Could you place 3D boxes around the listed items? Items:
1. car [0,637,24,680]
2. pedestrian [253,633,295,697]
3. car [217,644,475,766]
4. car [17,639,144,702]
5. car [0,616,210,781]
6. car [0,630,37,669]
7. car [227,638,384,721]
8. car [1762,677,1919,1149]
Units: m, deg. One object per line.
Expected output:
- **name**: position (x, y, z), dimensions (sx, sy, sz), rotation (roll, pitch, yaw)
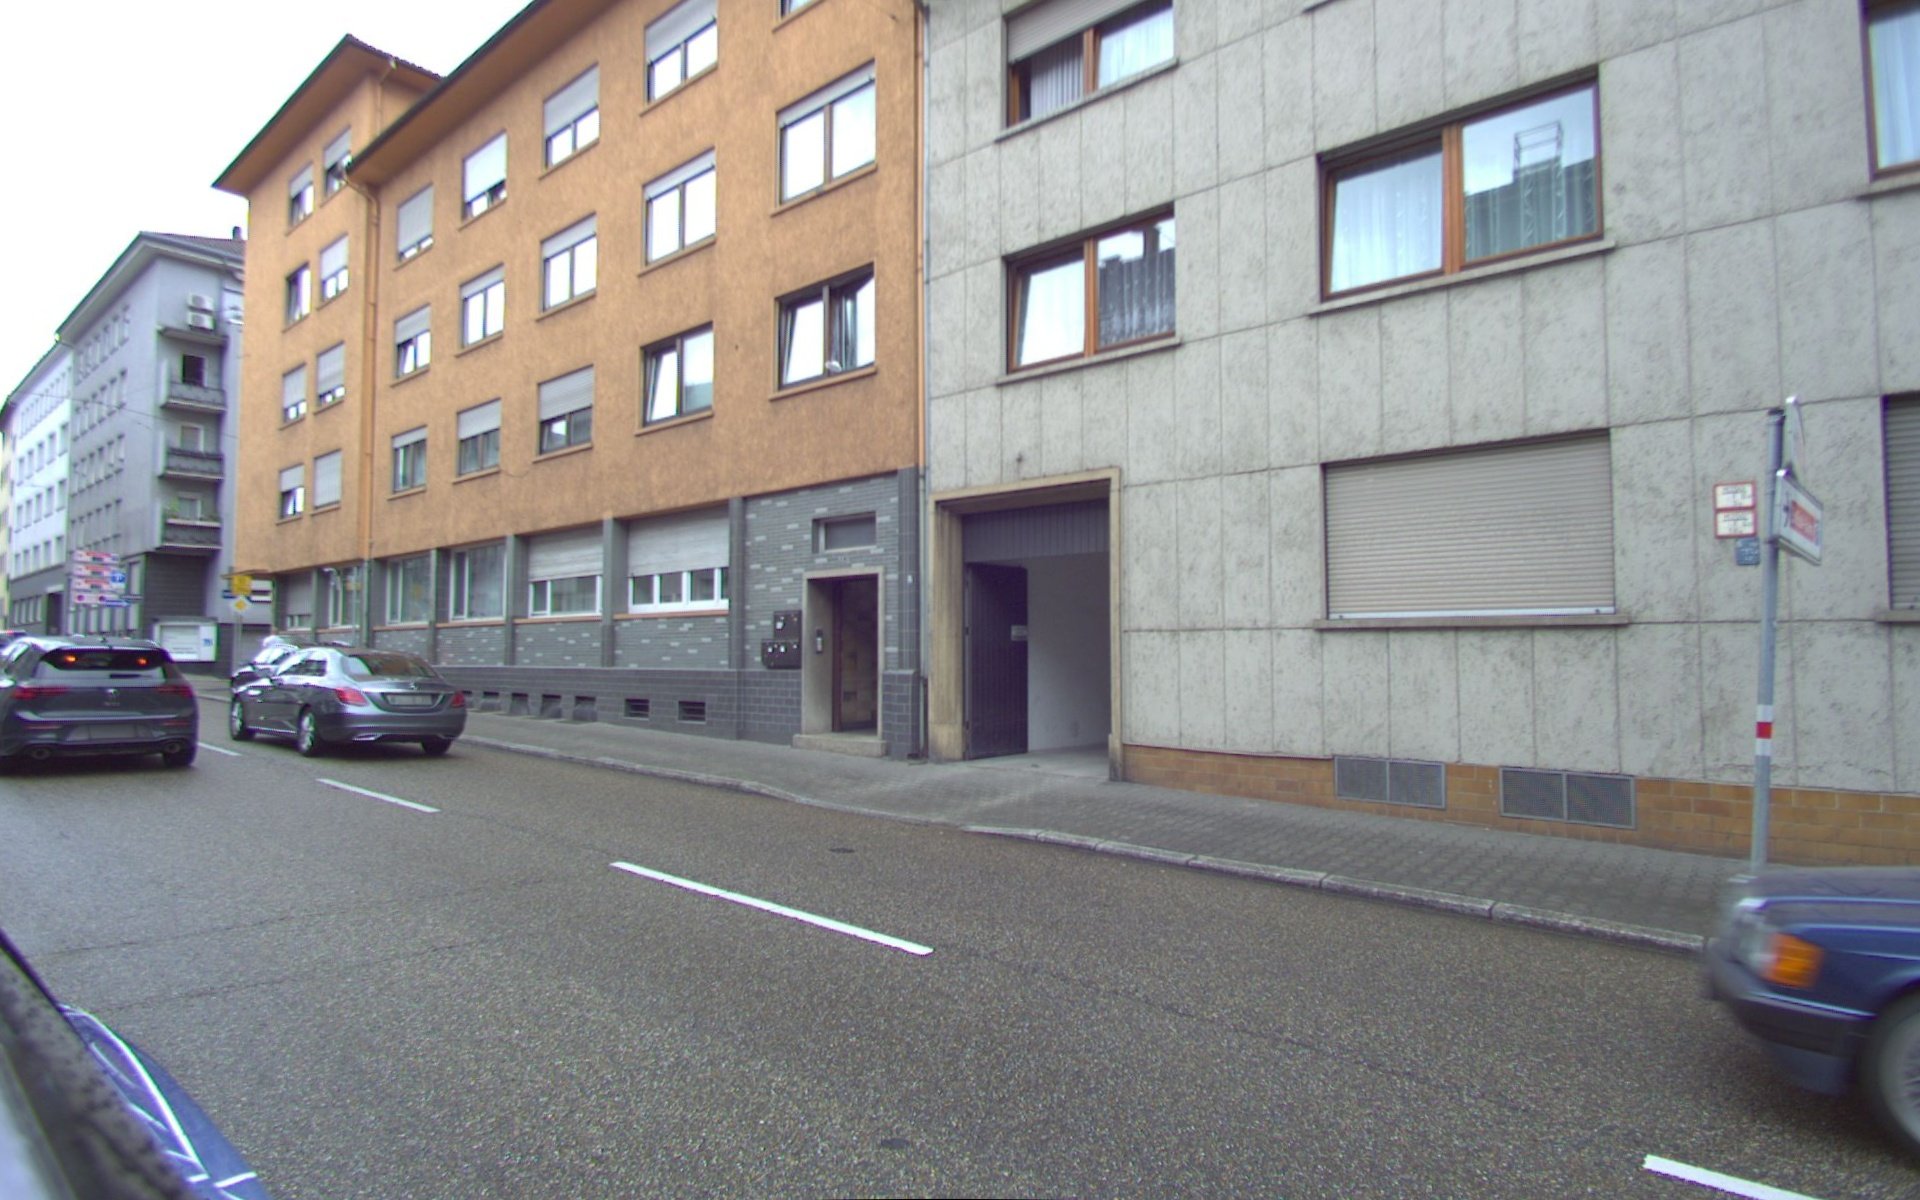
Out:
- **car**: position (-37.851, 2.195, 39.214), dimensions (4.433, 1.551, 1.677), rotation (-1, -6, 40)
- **pedestrian**: position (-18.455, 1.728, 27.221), dimensions (0.757, 1.652, 1.024), rotation (-1, 0, -44)
- **car**: position (-8.706, 1.389, 14.199), dimensions (4.362, 1.381, 1.678), rotation (-1, -5, 40)
- **car**: position (-22.661, 1.786, 26.038), dimensions (4.370, 1.484, 1.705), rotation (-2, -5, 40)
- **car**: position (-10.466, 1.027, 11.862), dimensions (4.214, 1.592, 1.677), rotation (0, -4, 40)
- **car**: position (-46.469, 2.370, 49.272), dimensions (4.216, 1.735, 1.832), rotation (-1, 0, 41)
- **car**: position (-14.244, 1.638, 21.935), dimensions (4.216, 1.485, 1.776), rotation (-1, 0, 41)
- **car**: position (4.772, 0.979, 2.486), dimensions (4.358, 1.381, 1.582), rotation (-1, -5, 40)
